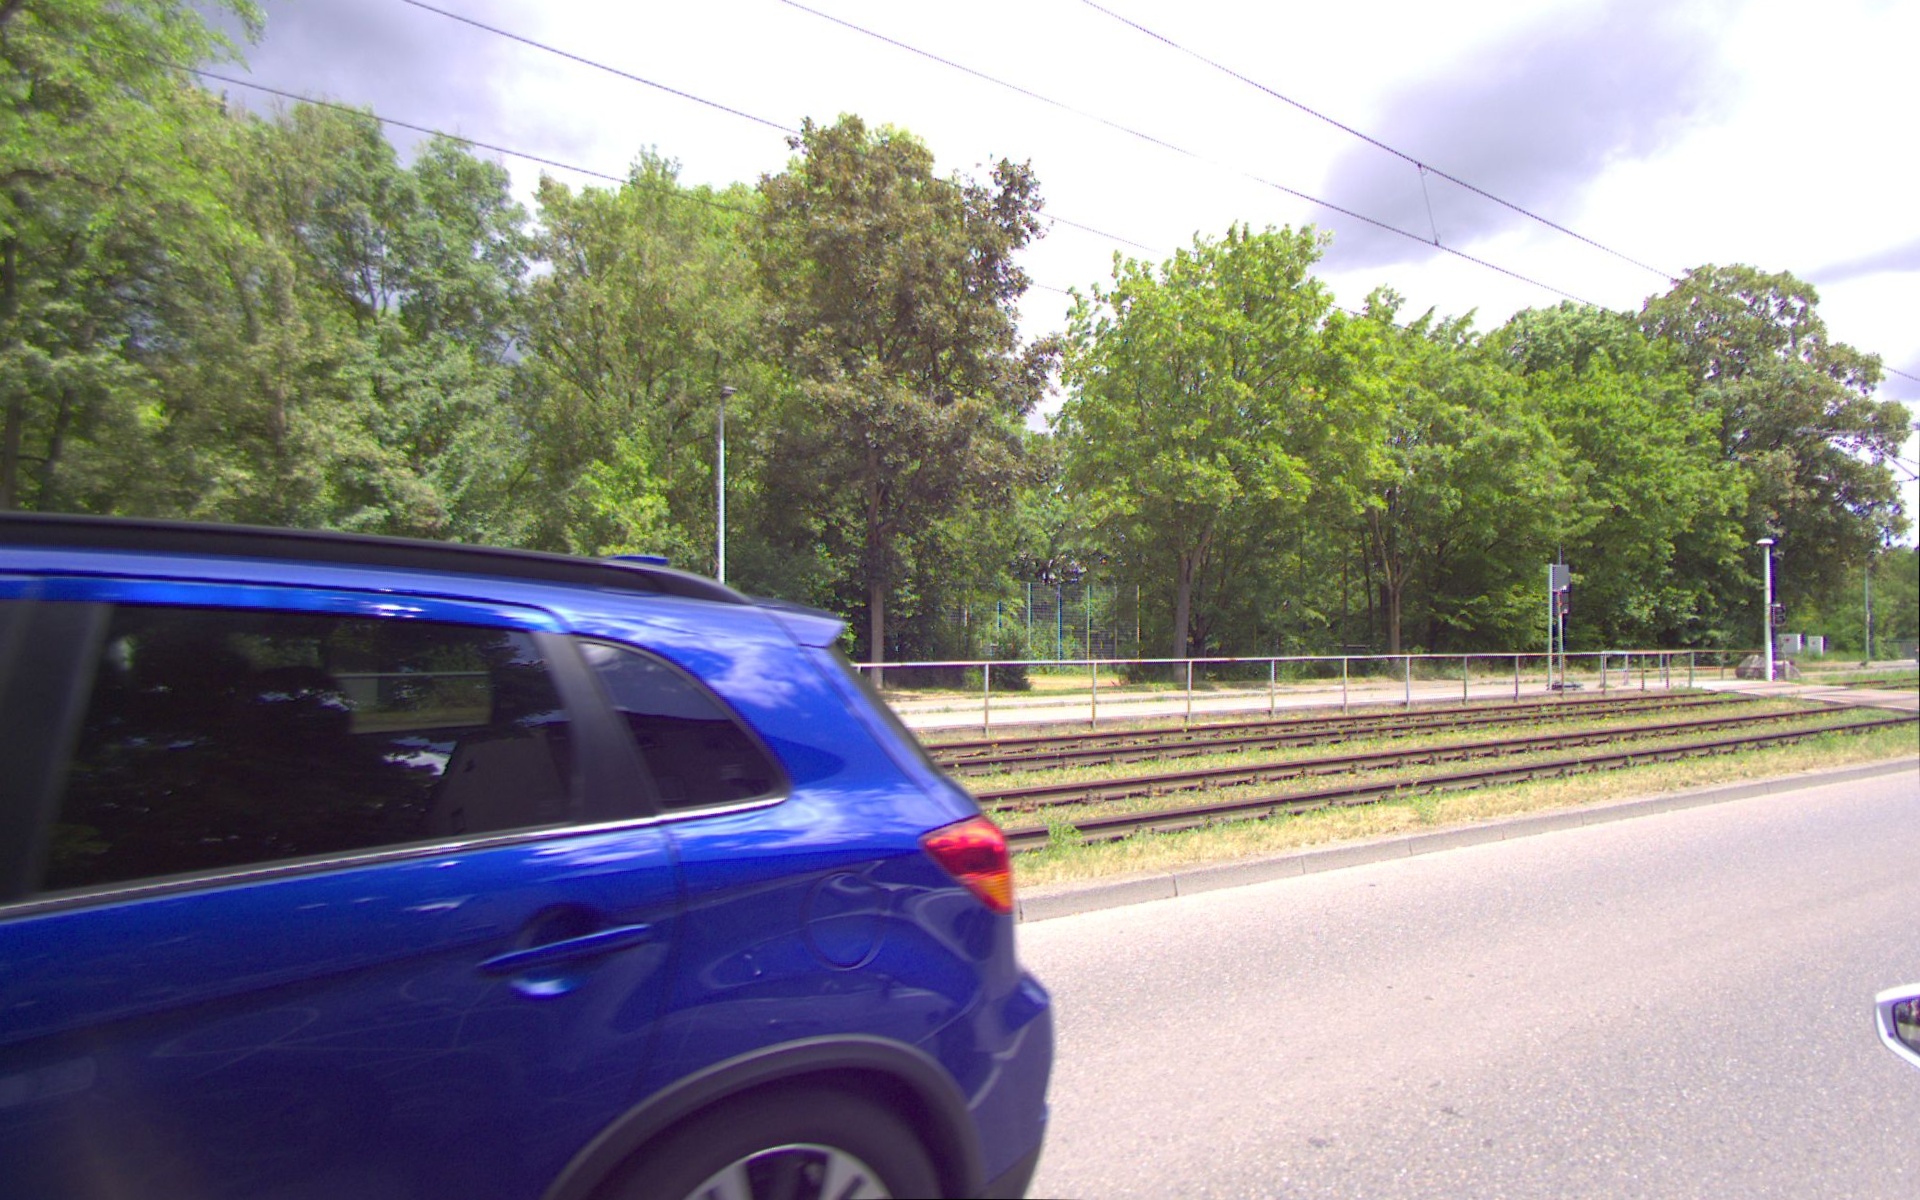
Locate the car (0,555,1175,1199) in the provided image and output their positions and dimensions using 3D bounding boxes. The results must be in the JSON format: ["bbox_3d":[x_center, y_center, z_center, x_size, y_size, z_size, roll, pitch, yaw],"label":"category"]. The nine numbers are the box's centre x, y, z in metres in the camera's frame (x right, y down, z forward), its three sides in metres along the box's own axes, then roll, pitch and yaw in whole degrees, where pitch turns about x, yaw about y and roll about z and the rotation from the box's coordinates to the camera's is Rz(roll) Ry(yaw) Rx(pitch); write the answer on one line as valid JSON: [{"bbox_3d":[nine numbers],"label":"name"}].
[{"bbox_3d":[-1.774,0.735,1.654,4.118,1.587,1.704,1,0,-31],"label":"car"}]
